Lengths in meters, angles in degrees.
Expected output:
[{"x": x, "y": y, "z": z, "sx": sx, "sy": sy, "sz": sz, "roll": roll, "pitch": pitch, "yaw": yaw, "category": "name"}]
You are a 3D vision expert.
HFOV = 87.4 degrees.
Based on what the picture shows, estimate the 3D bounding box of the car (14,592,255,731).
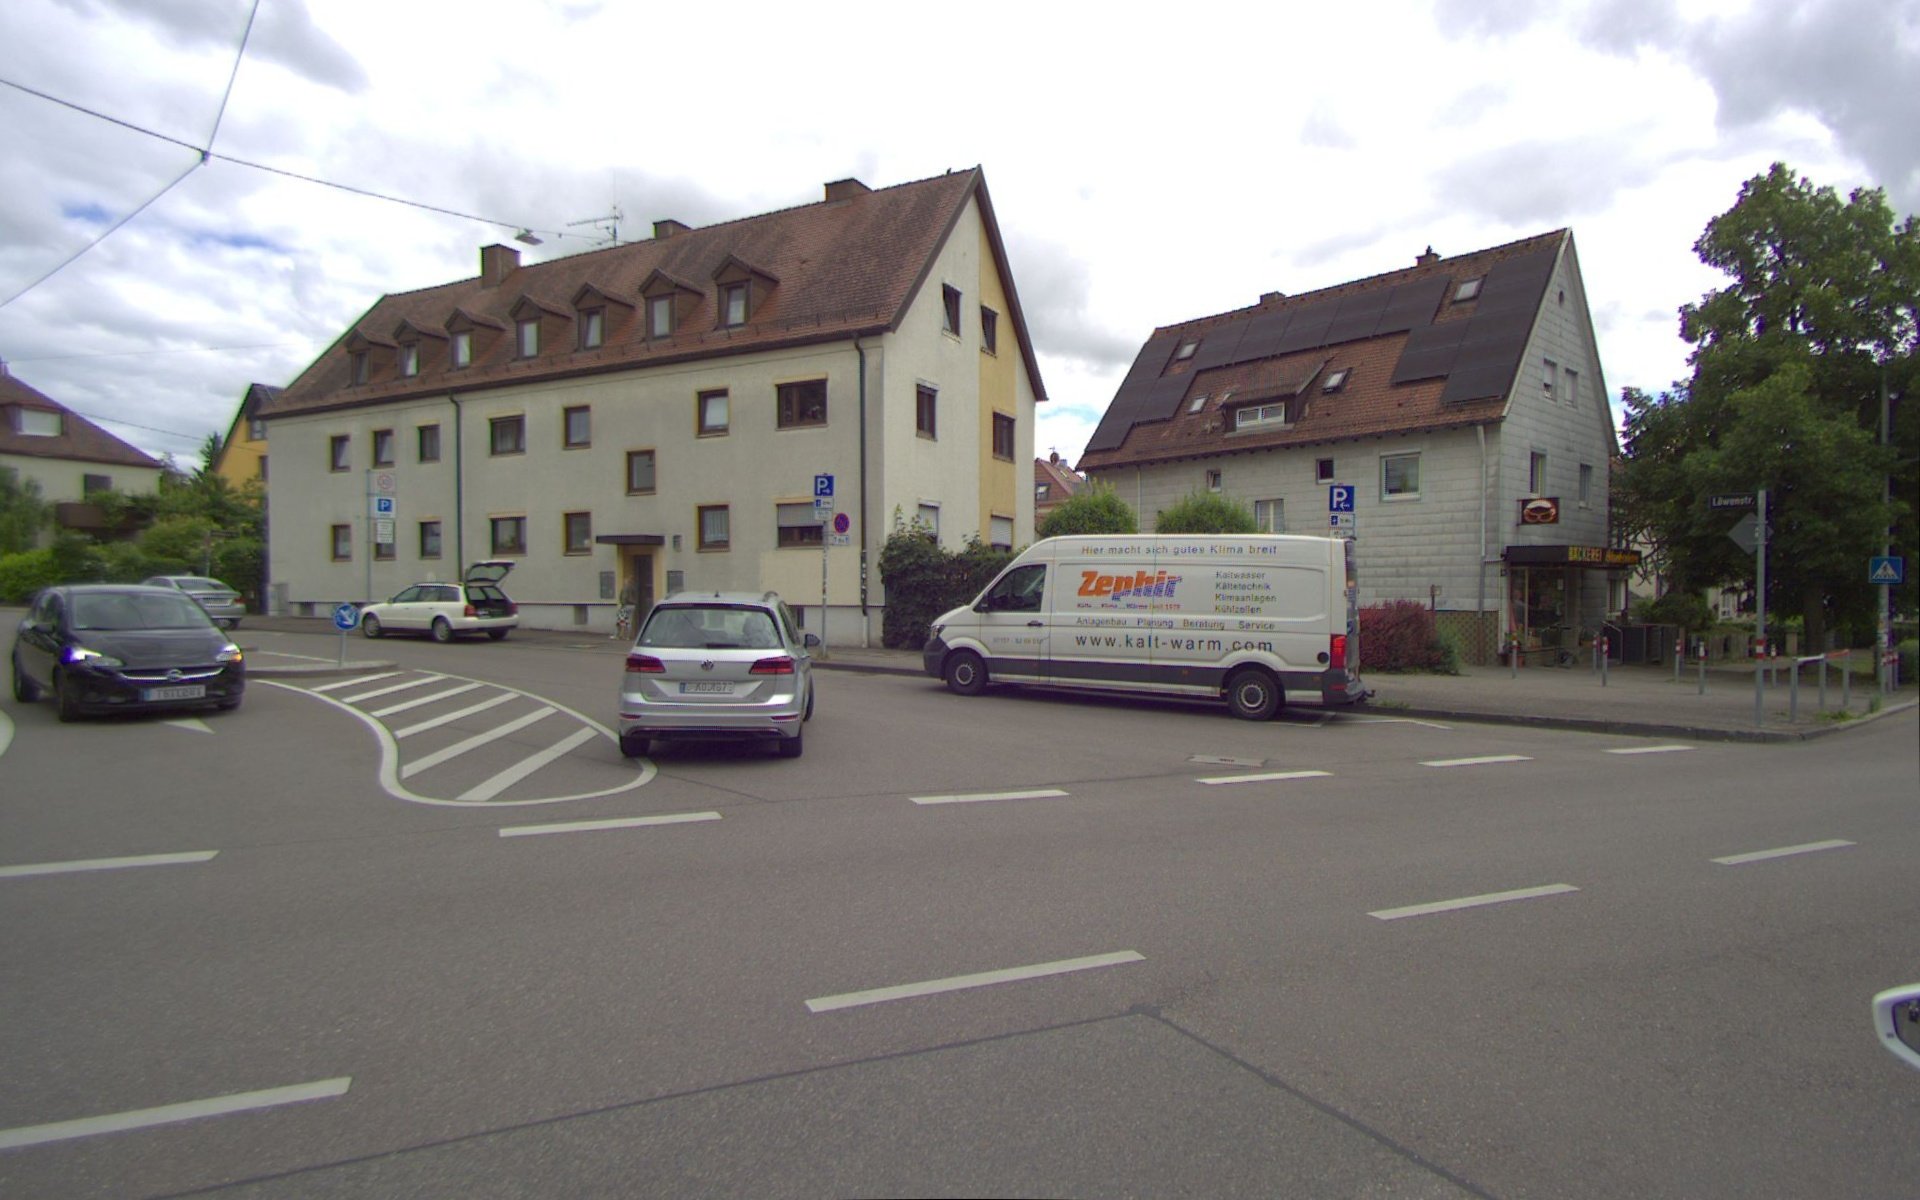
[{"x": -10.260, "y": 0.632, "z": 12.390, "sx": 3.940, "sy": 1.355, "sz": 1.636, "roll": 2, "pitch": 2, "yaw": 41, "category": "car"}]

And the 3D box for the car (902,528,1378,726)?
[{"x": 2.604, "y": 0.239, "z": 15.433, "sx": 6.851, "sy": 2.556, "sz": 2.082, "roll": 2, "pitch": 2, "yaw": 27, "category": "car"}]

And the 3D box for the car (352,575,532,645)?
[{"x": -12.797, "y": 0.191, "z": 24.810, "sx": 4.235, "sy": 1.459, "sz": 1.720, "roll": 3, "pitch": 3, "yaw": 25, "category": "car"}]

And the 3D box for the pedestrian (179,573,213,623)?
[{"x": -26.130, "y": -0.085, "z": 34.347, "sx": 0.768, "sy": 1.655, "sz": 0.680, "roll": 3, "pitch": 3, "yaw": 30, "category": "pedestrian"}]

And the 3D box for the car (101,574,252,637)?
[{"x": -21.733, "y": 0.158, "z": 27.851, "sx": 4.155, "sy": 1.554, "sz": 1.681, "roll": 2, "pitch": -1, "yaw": 27, "category": "car"}]

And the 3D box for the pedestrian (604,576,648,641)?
[{"x": -8.347, "y": 0.198, "z": 25.102, "sx": 0.704, "sy": 1.555, "sz": 0.748, "roll": 3, "pitch": 3, "yaw": 30, "category": "pedestrian"}]

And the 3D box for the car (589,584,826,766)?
[{"x": -2.491, "y": 0.670, "z": 10.884, "sx": 1.893, "sy": 1.595, "sz": 3.996, "roll": 1, "pitch": 0, "yaw": -6, "category": "car"}]
